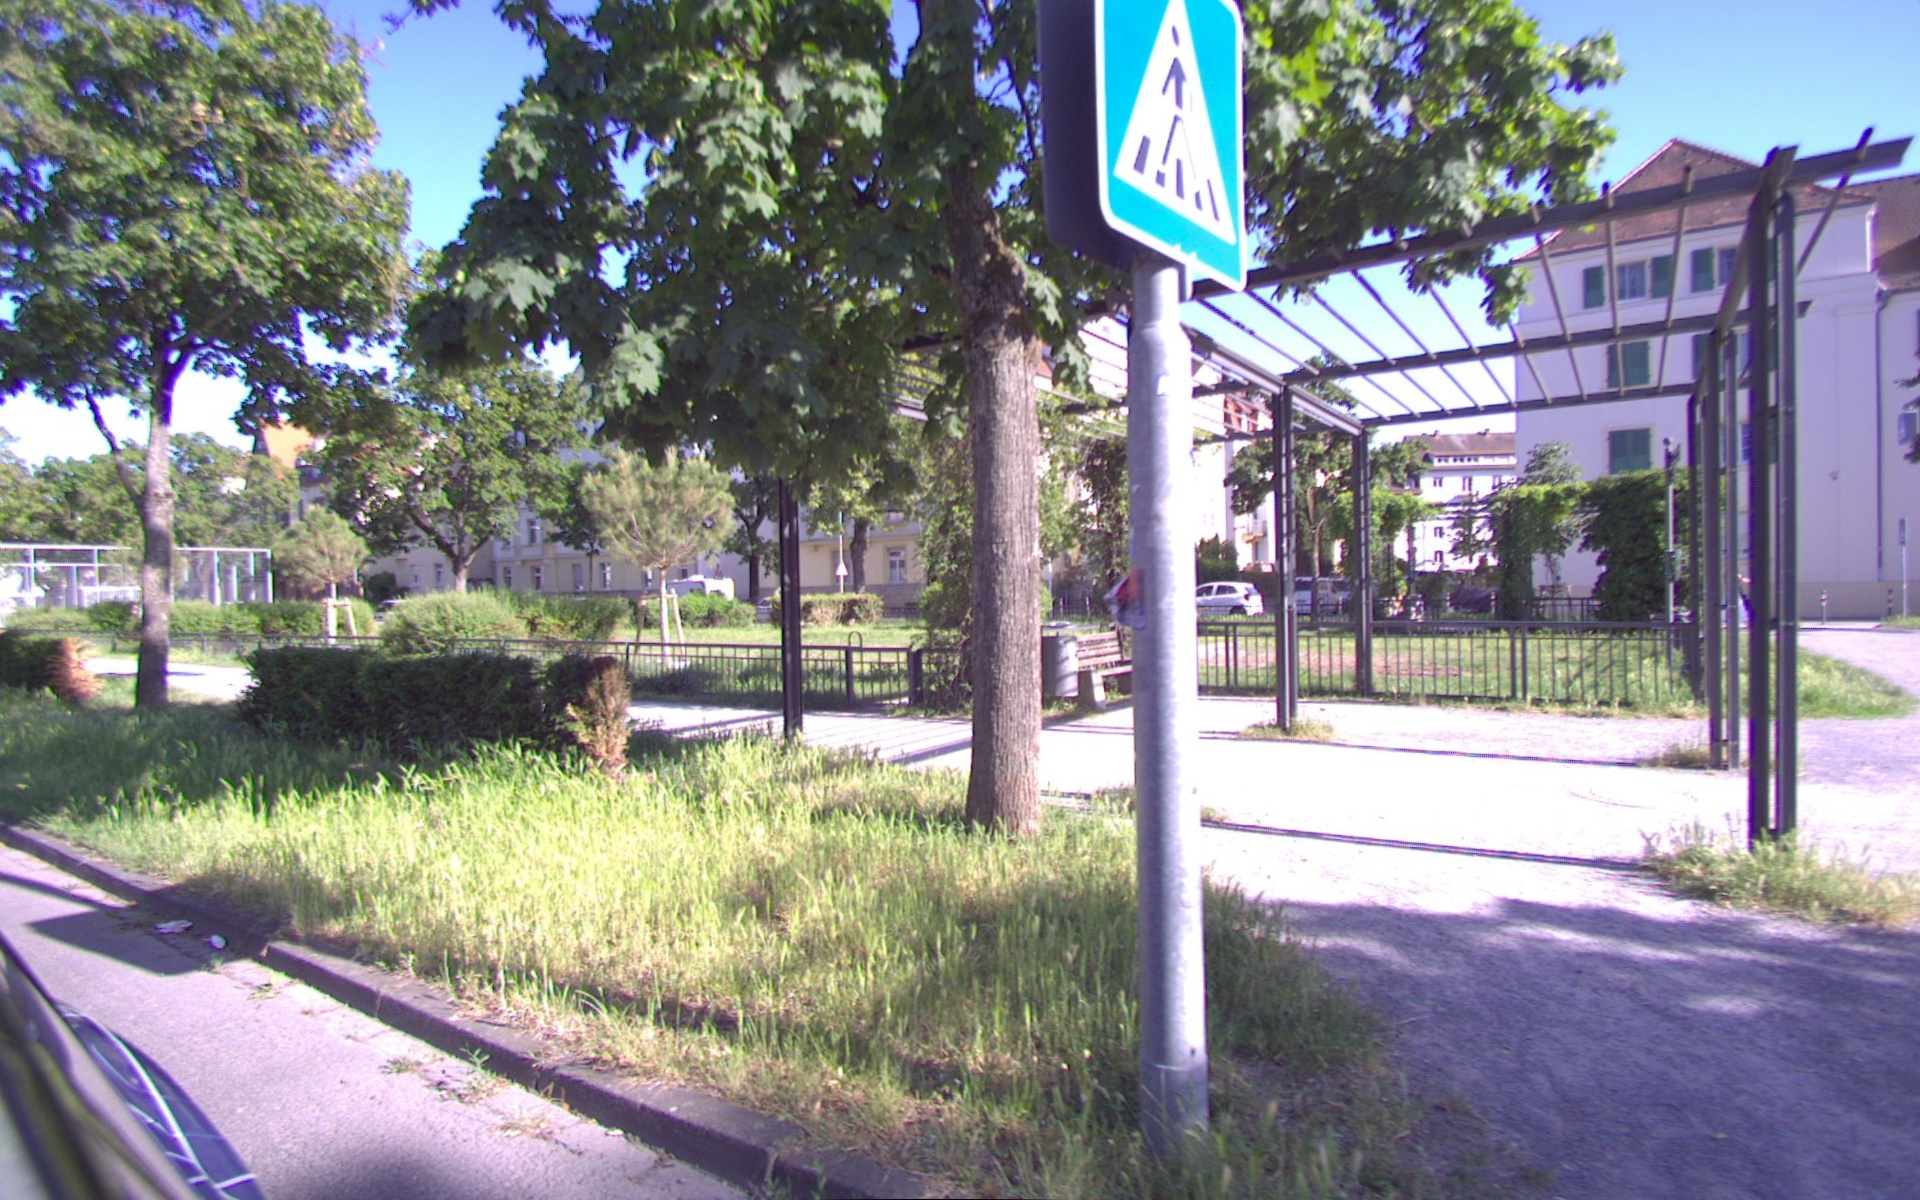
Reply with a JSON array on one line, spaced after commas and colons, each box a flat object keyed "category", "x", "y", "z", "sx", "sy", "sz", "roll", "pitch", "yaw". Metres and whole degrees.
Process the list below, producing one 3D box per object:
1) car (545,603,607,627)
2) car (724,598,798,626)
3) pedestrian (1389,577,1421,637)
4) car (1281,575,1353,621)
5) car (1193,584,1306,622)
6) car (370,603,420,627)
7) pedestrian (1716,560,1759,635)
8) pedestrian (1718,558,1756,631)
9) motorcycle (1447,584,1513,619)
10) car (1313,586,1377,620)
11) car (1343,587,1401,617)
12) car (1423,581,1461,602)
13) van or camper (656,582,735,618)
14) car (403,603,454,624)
[{"category": "car", "x": -24.956, "y": 1.006, "z": 65.758, "sx": 3.992, "sy": 1.463, "sz": 1.824, "roll": -1, "pitch": 1, "yaw": 36}, {"category": "car", "x": -11.112, "y": 0.690, "z": 56.428, "sx": 3.992, "sy": 1.463, "sz": 1.824, "roll": -1, "pitch": 1, "yaw": 36}, {"category": "pedestrian", "x": 10.967, "y": 0.175, "z": 24.925, "sx": 0.670, "sy": 1.450, "sz": 0.540, "roll": -1, "pitch": 0, "yaw": 28}, {"category": "car", "x": 16.029, "y": -0.112, "z": 45.360, "sx": 2.039, "sy": 1.970, "sz": 3.770, "roll": -1, "pitch": 1, "yaw": 36}, {"category": "car", "x": 10.749, "y": 0.115, "z": 37.682, "sx": 3.702, "sy": 1.341, "sz": 1.734, "roll": -1, "pitch": 1, "yaw": 33}, {"category": "car", "x": -44.400, "y": 1.155, "z": 79.548, "sx": 3.992, "sy": 1.807, "sz": 1.933, "roll": -1, "pitch": 1, "yaw": 36}, {"category": "pedestrian", "x": 18.041, "y": -0.058, "z": 23.496, "sx": 0.748, "sy": 1.697, "sz": 0.538, "roll": -1, "pitch": 0, "yaw": 36}, {"category": "pedestrian", "x": 18.484, "y": -0.135, "z": 24.077, "sx": 0.673, "sy": 1.697, "sz": 0.538, "roll": -1, "pitch": 0, "yaw": 39}, {"category": "motorcycle", "x": 19.914, "y": 0.069, "z": 38.775, "sx": 2.139, "sy": 1.315, "sz": 0.809, "roll": -1, "pitch": 0, "yaw": 33}, {"category": "car", "x": 19.051, "y": 0.127, "z": 50.050, "sx": 2.039, "sy": 1.530, "sz": 3.770, "roll": -1, "pitch": 1, "yaw": 36}, {"category": "car", "x": 22.225, "y": 0.083, "z": 54.483, "sx": 2.039, "sy": 1.530, "sz": 3.770, "roll": -1, "pitch": 1, "yaw": 36}, {"category": "car", "x": 37.601, "y": -0.657, "z": 78.897, "sx": 2.039, "sy": 1.530, "sz": 3.770, "roll": -1, "pitch": 1, "yaw": 36}, {"category": "van or camper", "x": -15.596, "y": -0.018, "z": 59.598, "sx": 4.364, "sy": 2.029, "sz": 2.248, "roll": 0, "pitch": 1, "yaw": 35}, {"category": "car", "x": -40.064, "y": 1.006, "z": 76.320, "sx": 3.992, "sy": 1.463, "sz": 1.824, "roll": -1, "pitch": 1, "yaw": 36}]
